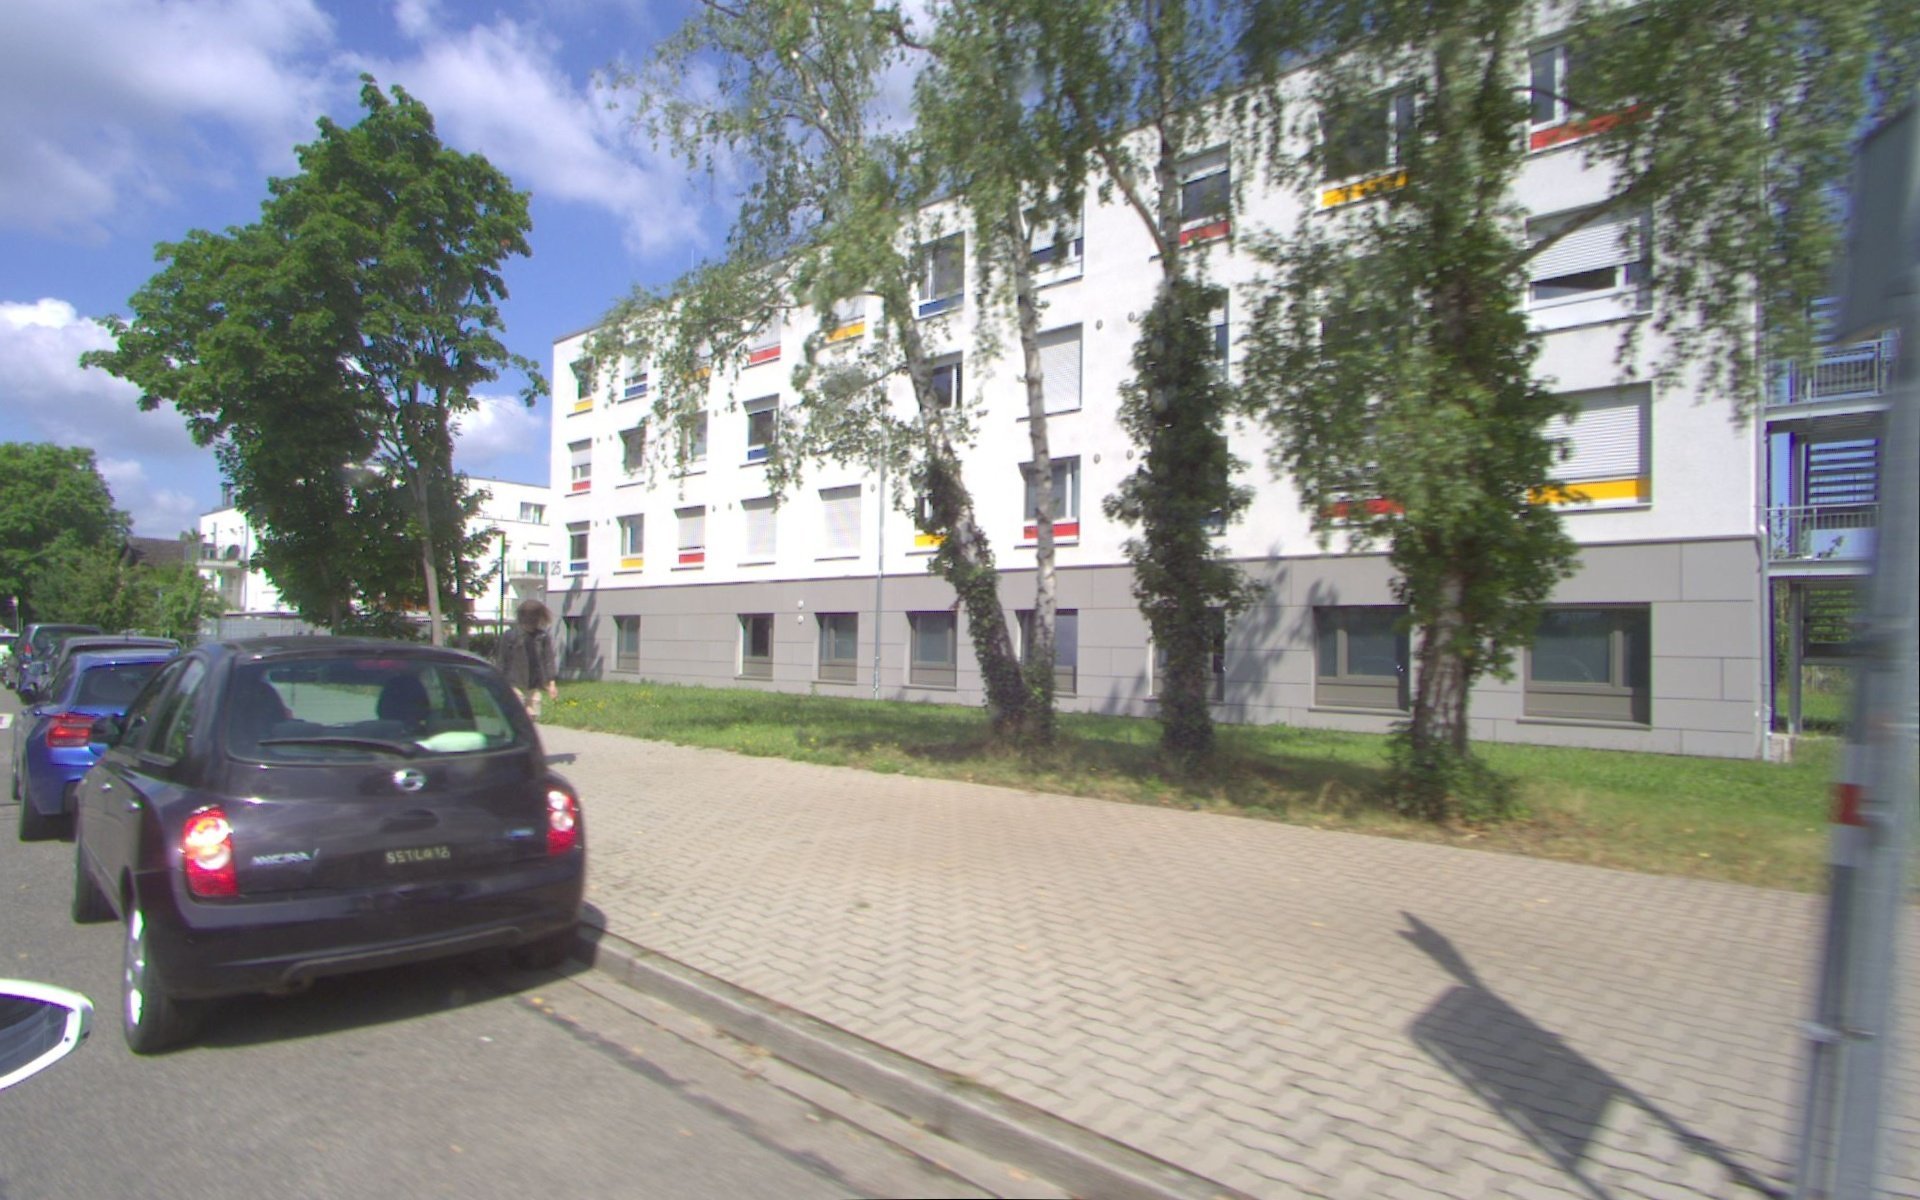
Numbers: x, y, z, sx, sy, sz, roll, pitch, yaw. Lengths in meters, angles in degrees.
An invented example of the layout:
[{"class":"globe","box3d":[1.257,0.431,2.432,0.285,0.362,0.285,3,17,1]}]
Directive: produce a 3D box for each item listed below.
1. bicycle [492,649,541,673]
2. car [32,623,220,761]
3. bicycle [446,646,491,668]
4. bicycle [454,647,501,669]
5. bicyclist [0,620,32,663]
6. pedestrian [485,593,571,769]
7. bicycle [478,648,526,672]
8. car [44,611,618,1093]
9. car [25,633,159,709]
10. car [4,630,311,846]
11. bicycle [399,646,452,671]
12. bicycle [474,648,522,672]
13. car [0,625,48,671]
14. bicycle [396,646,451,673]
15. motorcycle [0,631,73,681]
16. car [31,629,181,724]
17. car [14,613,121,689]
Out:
[{"class":"bicycle","box3d":[-21.136,2.896,47.788,0.681,1.093,2.036,0,-2,43]},{"class":"car","box3d":[-11.143,1.155,13.342,1.653,1.571,3.604,5,-5,-42]},{"class":"bicycle","box3d":[-25.756,2.980,52.514,0.681,1.093,2.036,0,-2,43]},{"class":"bicycle","box3d":[-24.307,2.919,50.499,0.681,1.093,2.036,0,-2,43]},{"class":"bicyclist","box3d":[-40.045,1.757,42.357,0.774,1.807,0.893,3,-3,-17]},{"class":"pedestrian","box3d":[-4.543,0.841,10.517,0.605,1.767,0.717,4,-3,-36]},{"class":"bicycle","box3d":[-22.230,2.906,48.651,0.681,1.093,2.036,0,-2,43]},{"class":"car","box3d":[-3.493,0.898,5.200,1.654,1.524,3.960,5,-5,-44]},{"class":"car","box3d":[-18.390,1.463,21.171,3.502,1.452,1.657,-1,-5,42]},{"class":"car","box3d":[-7.256,1.040,8.887,1.654,1.457,4.165,5,-5,-44]},{"class":"bicycle","box3d":[-24.808,2.700,46.502,0.681,1.093,2.036,0,-2,43]},{"class":"bicycle","box3d":[-22.701,2.936,49.269,0.681,1.093,2.036,0,-2,43]},{"class":"car","box3d":[-33.326,1.651,35.075,3.957,1.537,1.671,-1,-5,43]},{"class":"bicycle","box3d":[-24.048,2.661,44.909,0.618,1.134,2.076,0,-2,45]},{"class":"motorcycle","box3d":[-26.414,1.611,28.638,0.859,1.378,1.421,-1,-4,41]},{"class":"car","box3d":[-14.801,1.275,17.297,1.654,1.457,3.707,5,-5,-44]},{"class":"car","box3d":[-23.533,1.345,26.368,1.864,1.828,3.398,5,-5,-44]}]
